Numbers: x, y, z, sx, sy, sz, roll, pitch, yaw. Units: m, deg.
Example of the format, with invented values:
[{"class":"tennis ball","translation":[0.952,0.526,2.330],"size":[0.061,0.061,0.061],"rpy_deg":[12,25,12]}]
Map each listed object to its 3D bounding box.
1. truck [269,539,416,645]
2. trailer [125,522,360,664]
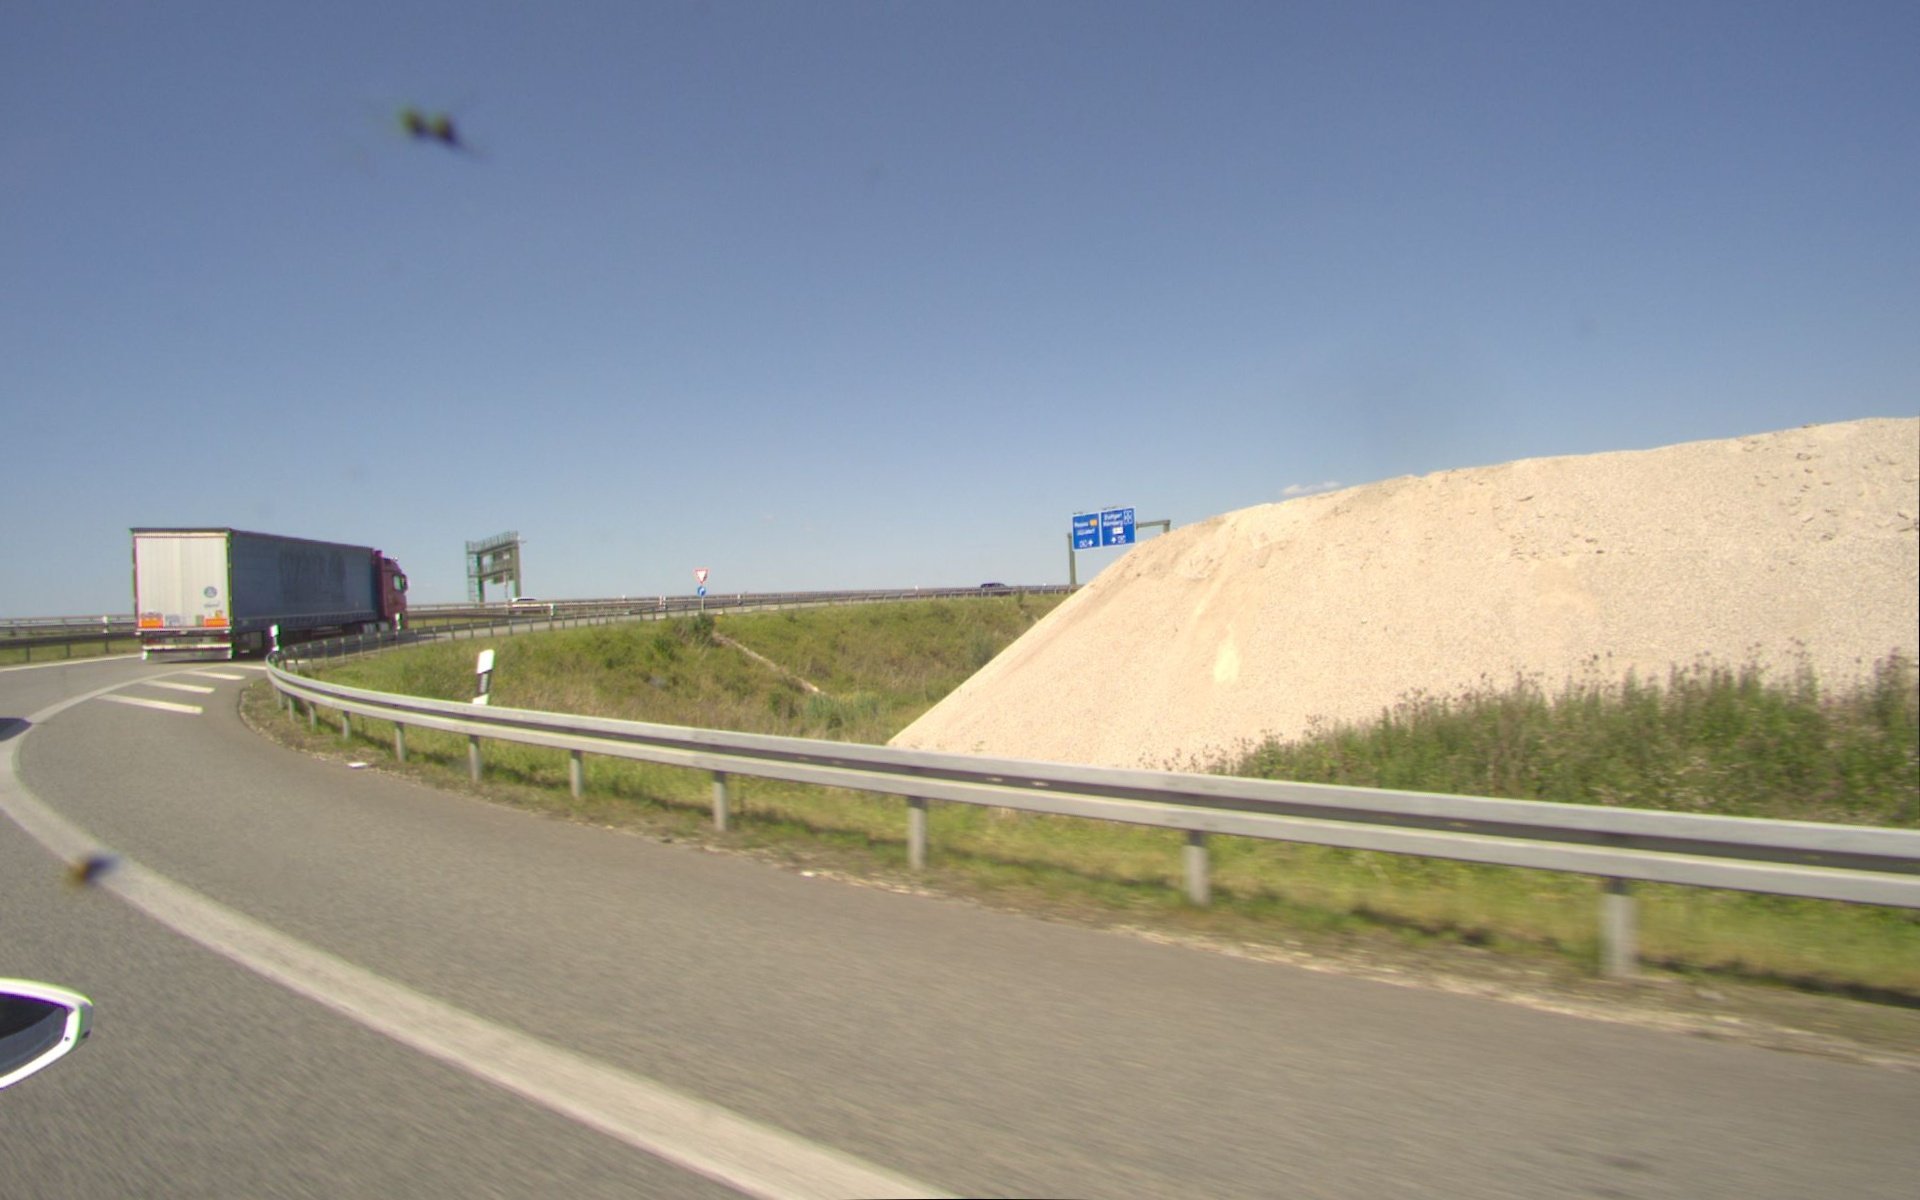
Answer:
[{"class":"truck","translation":[-26.404,-0.312,43.242],"size":[2.866,4.200,6.921],"rpy_deg":[-1,0,-9]},{"class":"trailer","translation":[-24.787,-0.203,35.548],"size":[2.869,4.200,11.240],"rpy_deg":[-1,0,-15]}]
